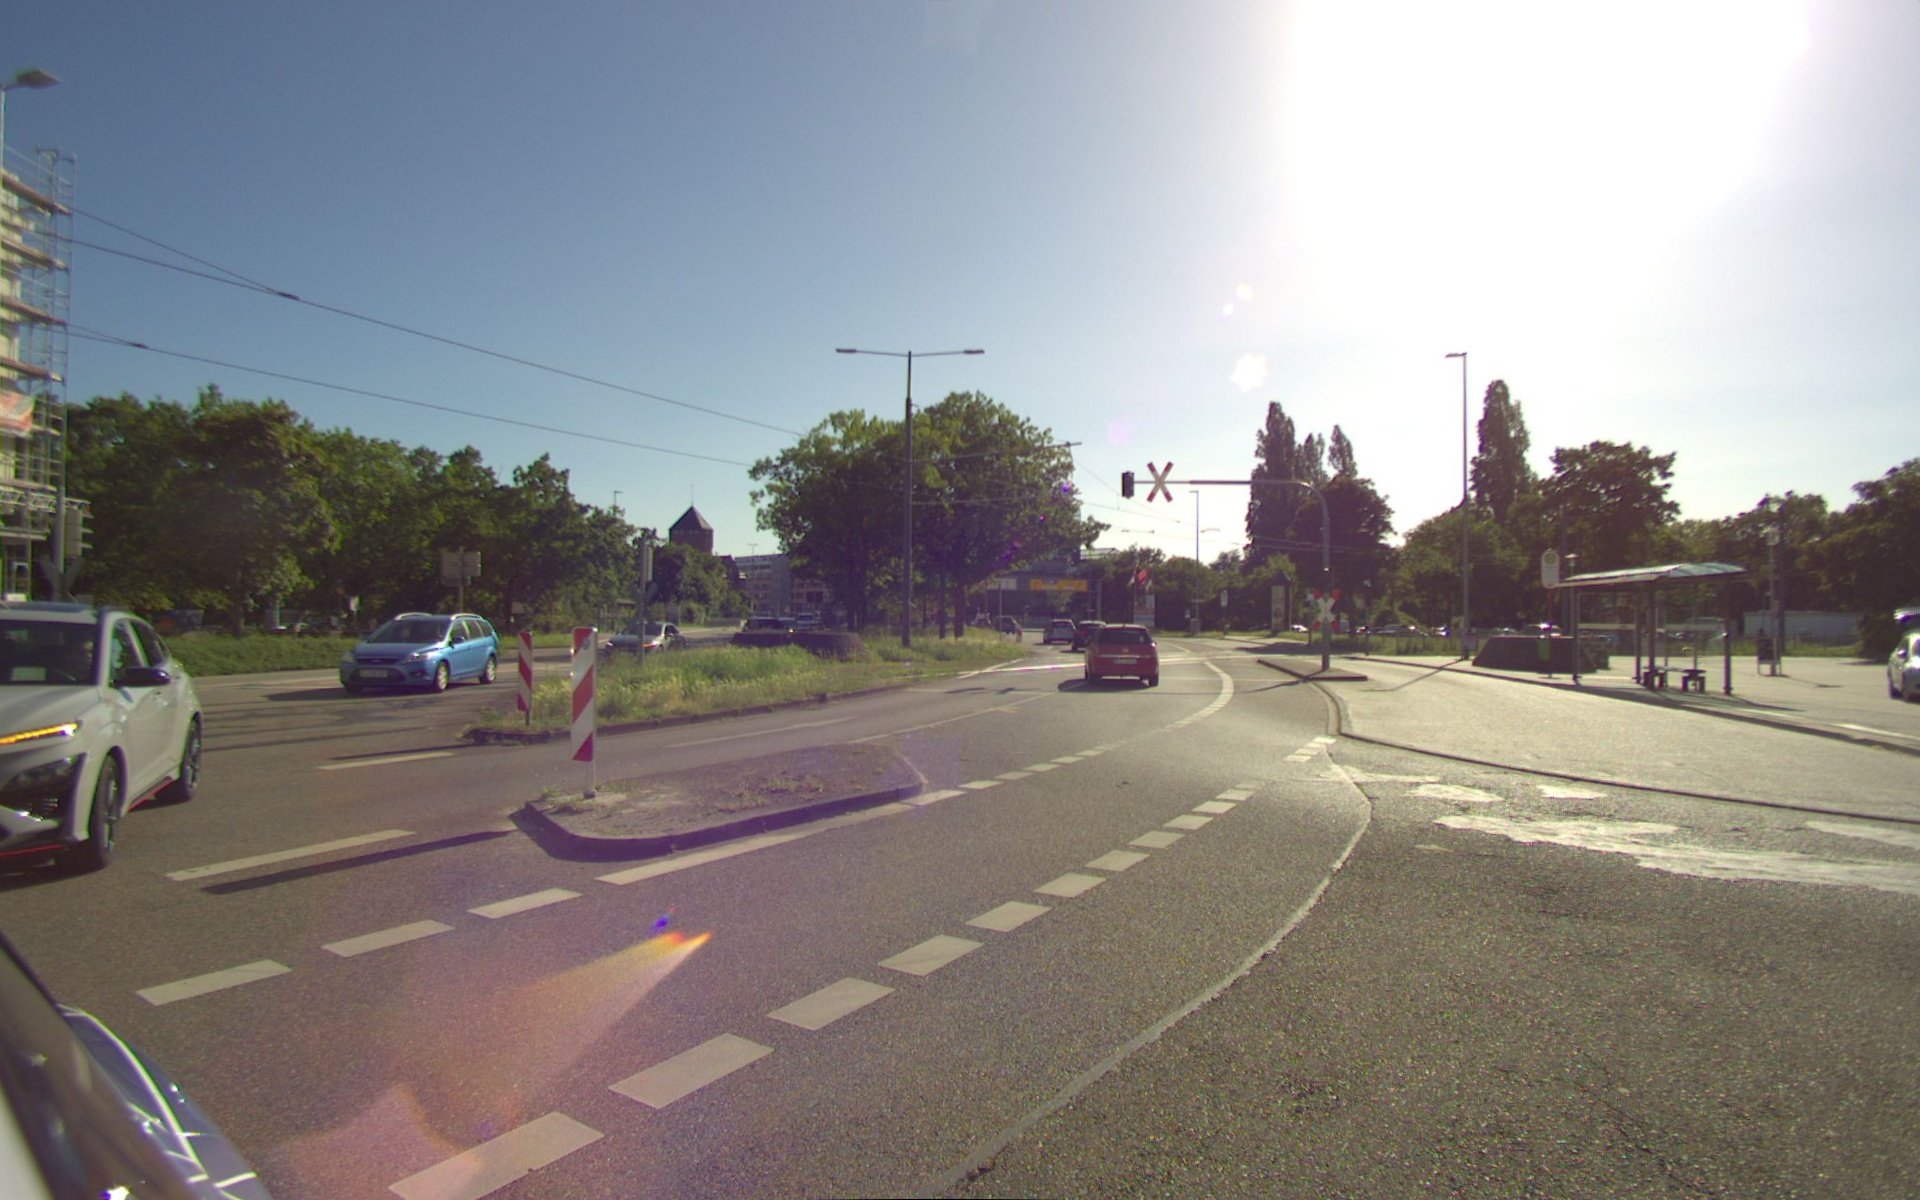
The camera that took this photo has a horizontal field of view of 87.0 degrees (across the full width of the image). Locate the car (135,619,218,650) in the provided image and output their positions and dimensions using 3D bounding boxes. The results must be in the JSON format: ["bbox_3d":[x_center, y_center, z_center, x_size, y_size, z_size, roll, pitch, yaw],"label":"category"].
[{"bbox_3d":[-42.008,1.815,54.360,1.794,1.596,3.689,1,-1,-5],"label":"car"}]

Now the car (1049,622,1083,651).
[{"bbox_3d":[6.365,2.150,60.886,1.975,1.675,4.476,0,-1,6],"label":"car"}]

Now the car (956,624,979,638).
[{"bbox_3d":[0.866,3.641,118.707,1.968,1.675,4.493,0,-1,-9],"label":"car"}]

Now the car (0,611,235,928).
[{"bbox_3d":[-6.403,0.874,6.709,1.872,1.564,4.499,1,-2,-26],"label":"car"}]

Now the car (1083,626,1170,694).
[{"bbox_3d":[4.111,1.440,25.613,1.976,1.564,4.475,0,-1,7],"label":"car"}]

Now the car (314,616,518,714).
[{"bbox_3d":[-10.947,1.246,20.794,1.847,1.789,4.486,0,-1,-1],"label":"car"}]

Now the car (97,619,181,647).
[{"bbox_3d":[-44.147,1.755,54.520,1.794,1.405,3.689,1,-1,-5],"label":"car"}]

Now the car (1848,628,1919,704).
[{"bbox_3d":[20.678,1.376,21.374,1.671,1.519,3.572,0,-1,20],"label":"car"}]

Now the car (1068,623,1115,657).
[{"bbox_3d":[6.227,1.875,48.324,1.975,1.564,4.478,0,-1,5],"label":"car"}]

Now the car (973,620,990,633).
[{"bbox_3d":[3.283,4.075,155.191,1.969,2.029,4.006,1,-1,-7],"label":"car"}]

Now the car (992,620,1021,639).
[{"bbox_3d":[4.255,2.698,93.335,1.969,1.675,4.491,0,-1,-7],"label":"car"}]

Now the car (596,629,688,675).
[{"bbox_3d":[-10.834,1.736,34.784,1.847,1.467,4.486,0,-1,-1],"label":"car"}]
